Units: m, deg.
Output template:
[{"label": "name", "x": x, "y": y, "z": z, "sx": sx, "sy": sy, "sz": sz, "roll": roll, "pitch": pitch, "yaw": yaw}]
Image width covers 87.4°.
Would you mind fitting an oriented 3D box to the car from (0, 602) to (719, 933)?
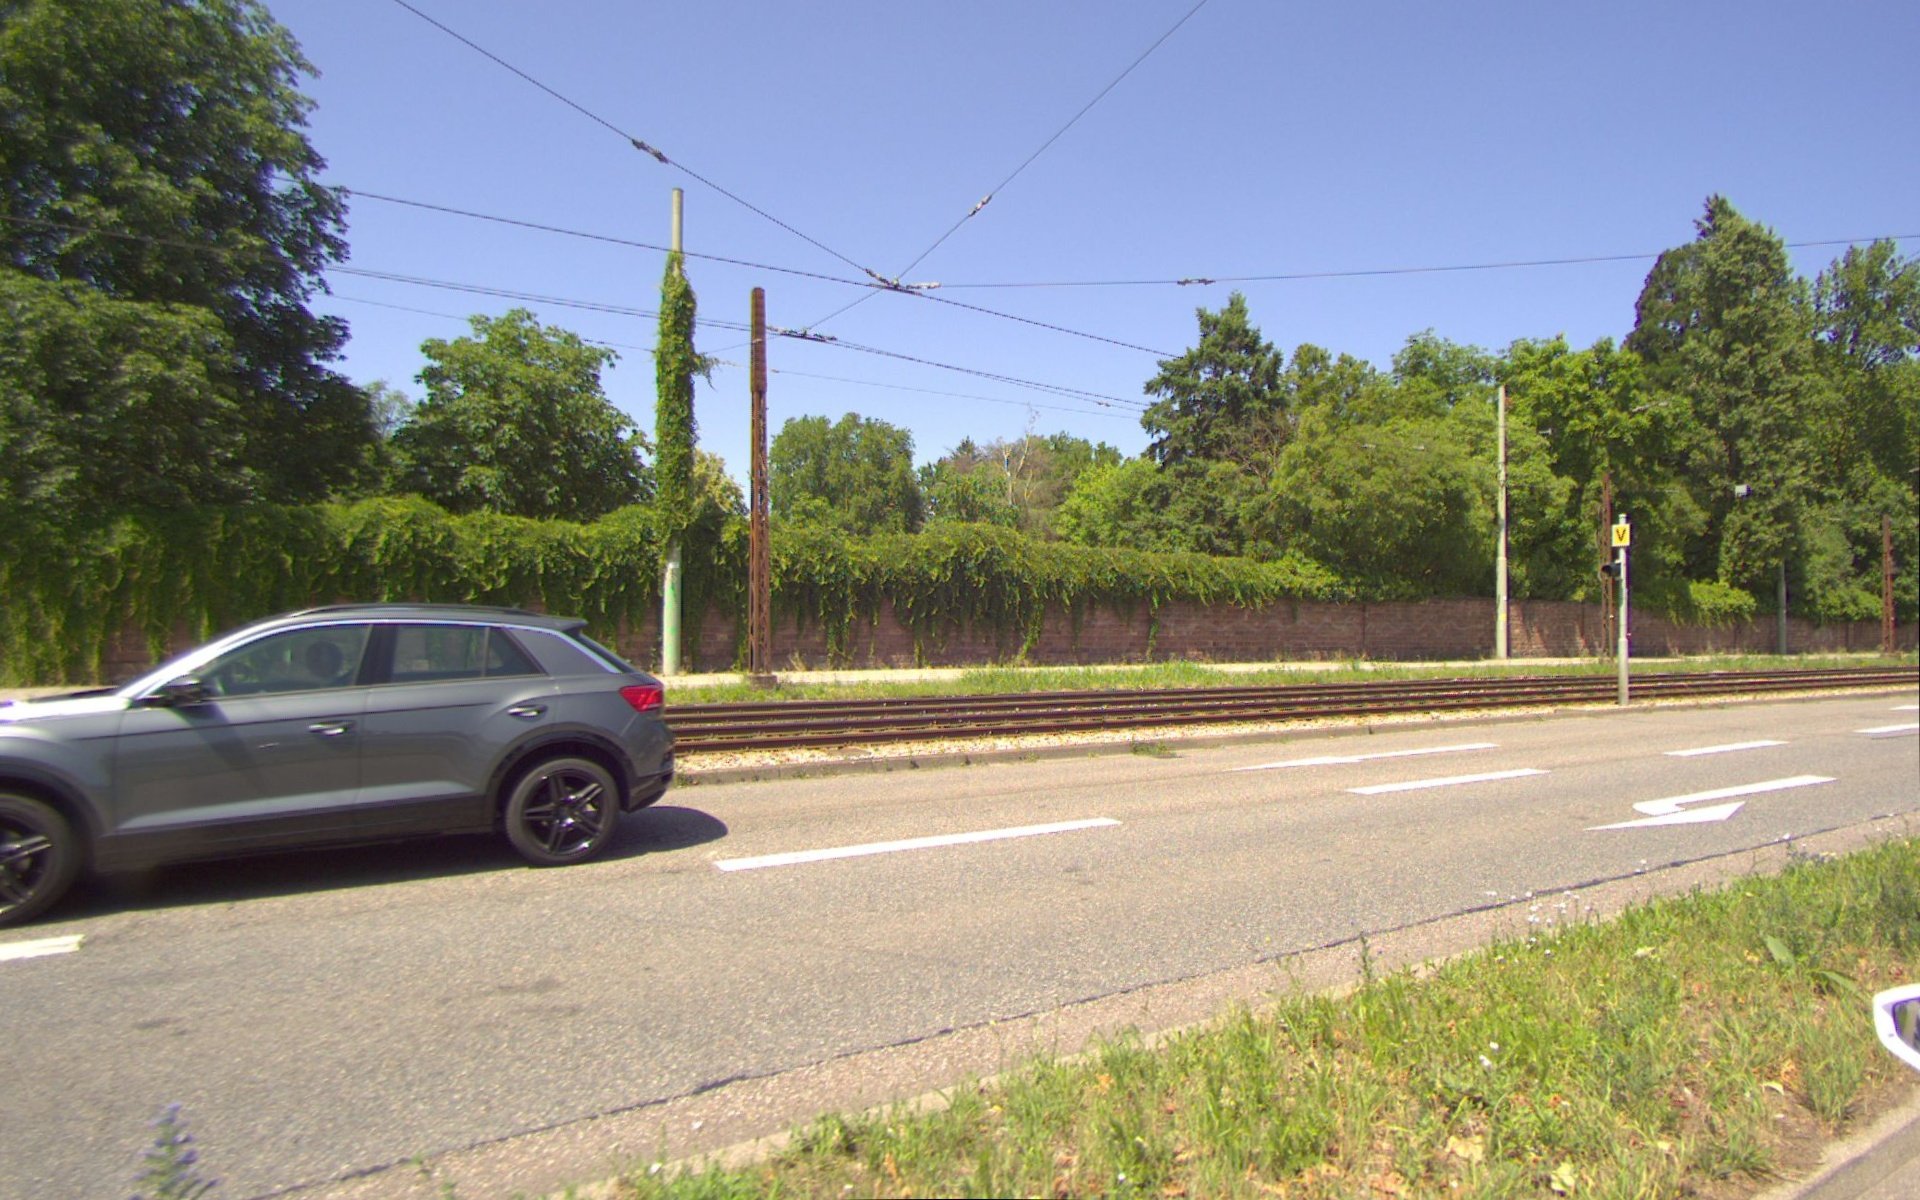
[{"label": "car", "x": -3.693, "y": 0.813, "z": 6.119, "sx": 4.020, "sy": 1.533, "sz": 1.688, "roll": 1, "pitch": -1, "yaw": -32}]
